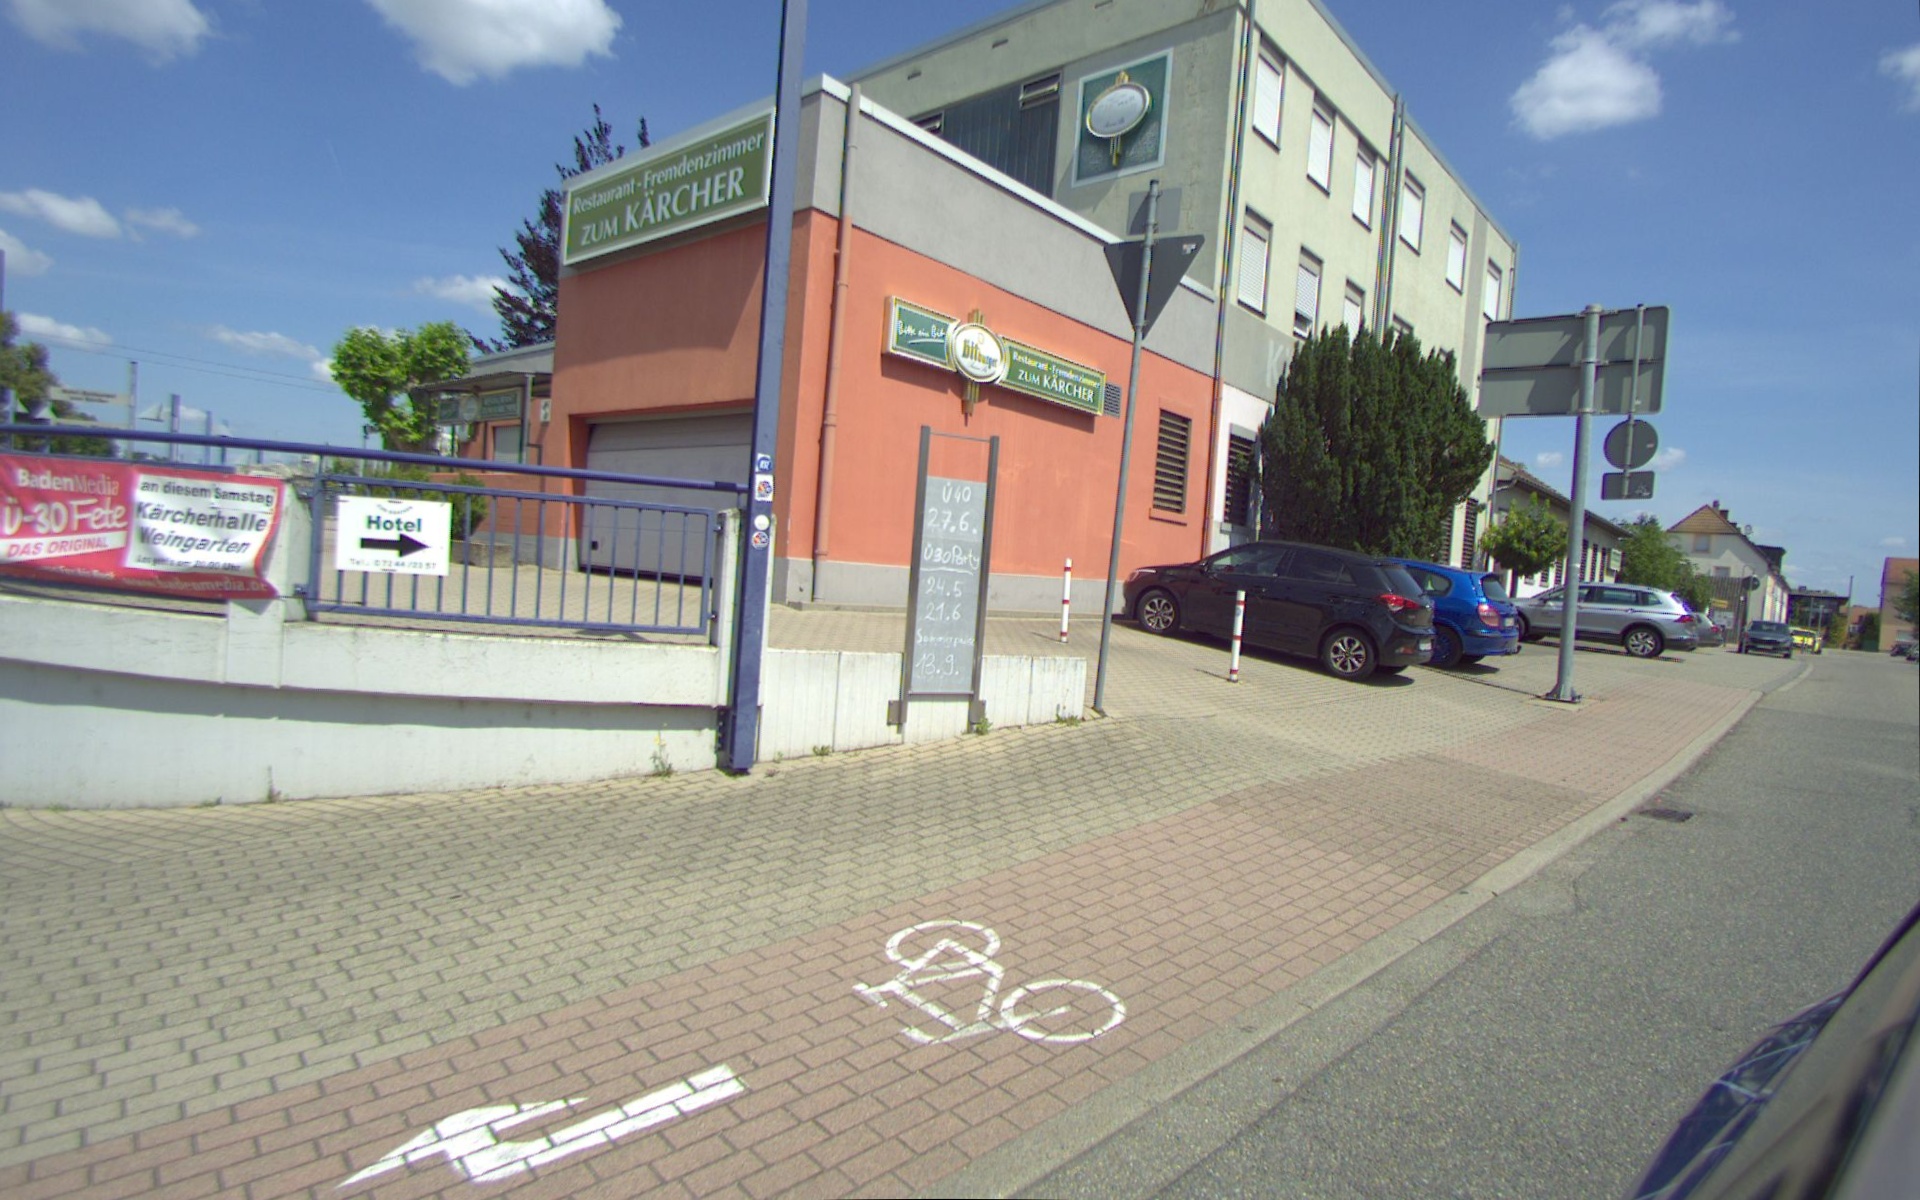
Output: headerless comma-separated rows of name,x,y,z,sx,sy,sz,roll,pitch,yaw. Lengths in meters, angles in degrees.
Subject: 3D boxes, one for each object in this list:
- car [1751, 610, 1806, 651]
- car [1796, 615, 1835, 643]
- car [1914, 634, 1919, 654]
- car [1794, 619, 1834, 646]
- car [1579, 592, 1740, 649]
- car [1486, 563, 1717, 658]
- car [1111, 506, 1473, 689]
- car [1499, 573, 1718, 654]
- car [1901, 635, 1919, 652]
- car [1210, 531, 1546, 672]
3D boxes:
car,34.558,1.288,42.706,1.627,1.507,4.079,7,3,40
car,57.360,1.945,67.812,1.717,1.517,4.151,11,6,41
car,75.372,3.542,78.413,1.716,1.517,4.152,9,4,40
car,54.312,2.081,64.337,1.717,1.414,4.151,11,6,41
car,25.287,0.712,36.682,4.529,1.471,1.888,9,4,42
car,15.637,0.207,24.806,4.452,1.717,1.894,9,4,40
car,4.171,-0.145,13.057,3.899,1.506,1.784,15,9,40
car,16.975,0.307,26.613,4.501,1.537,1.970,9,4,41
car,95.260,4.332,100.943,1.716,1.517,4.152,9,4,40
car,6.266,-0.094,15.499,4.325,1.455,1.753,11,8,41
